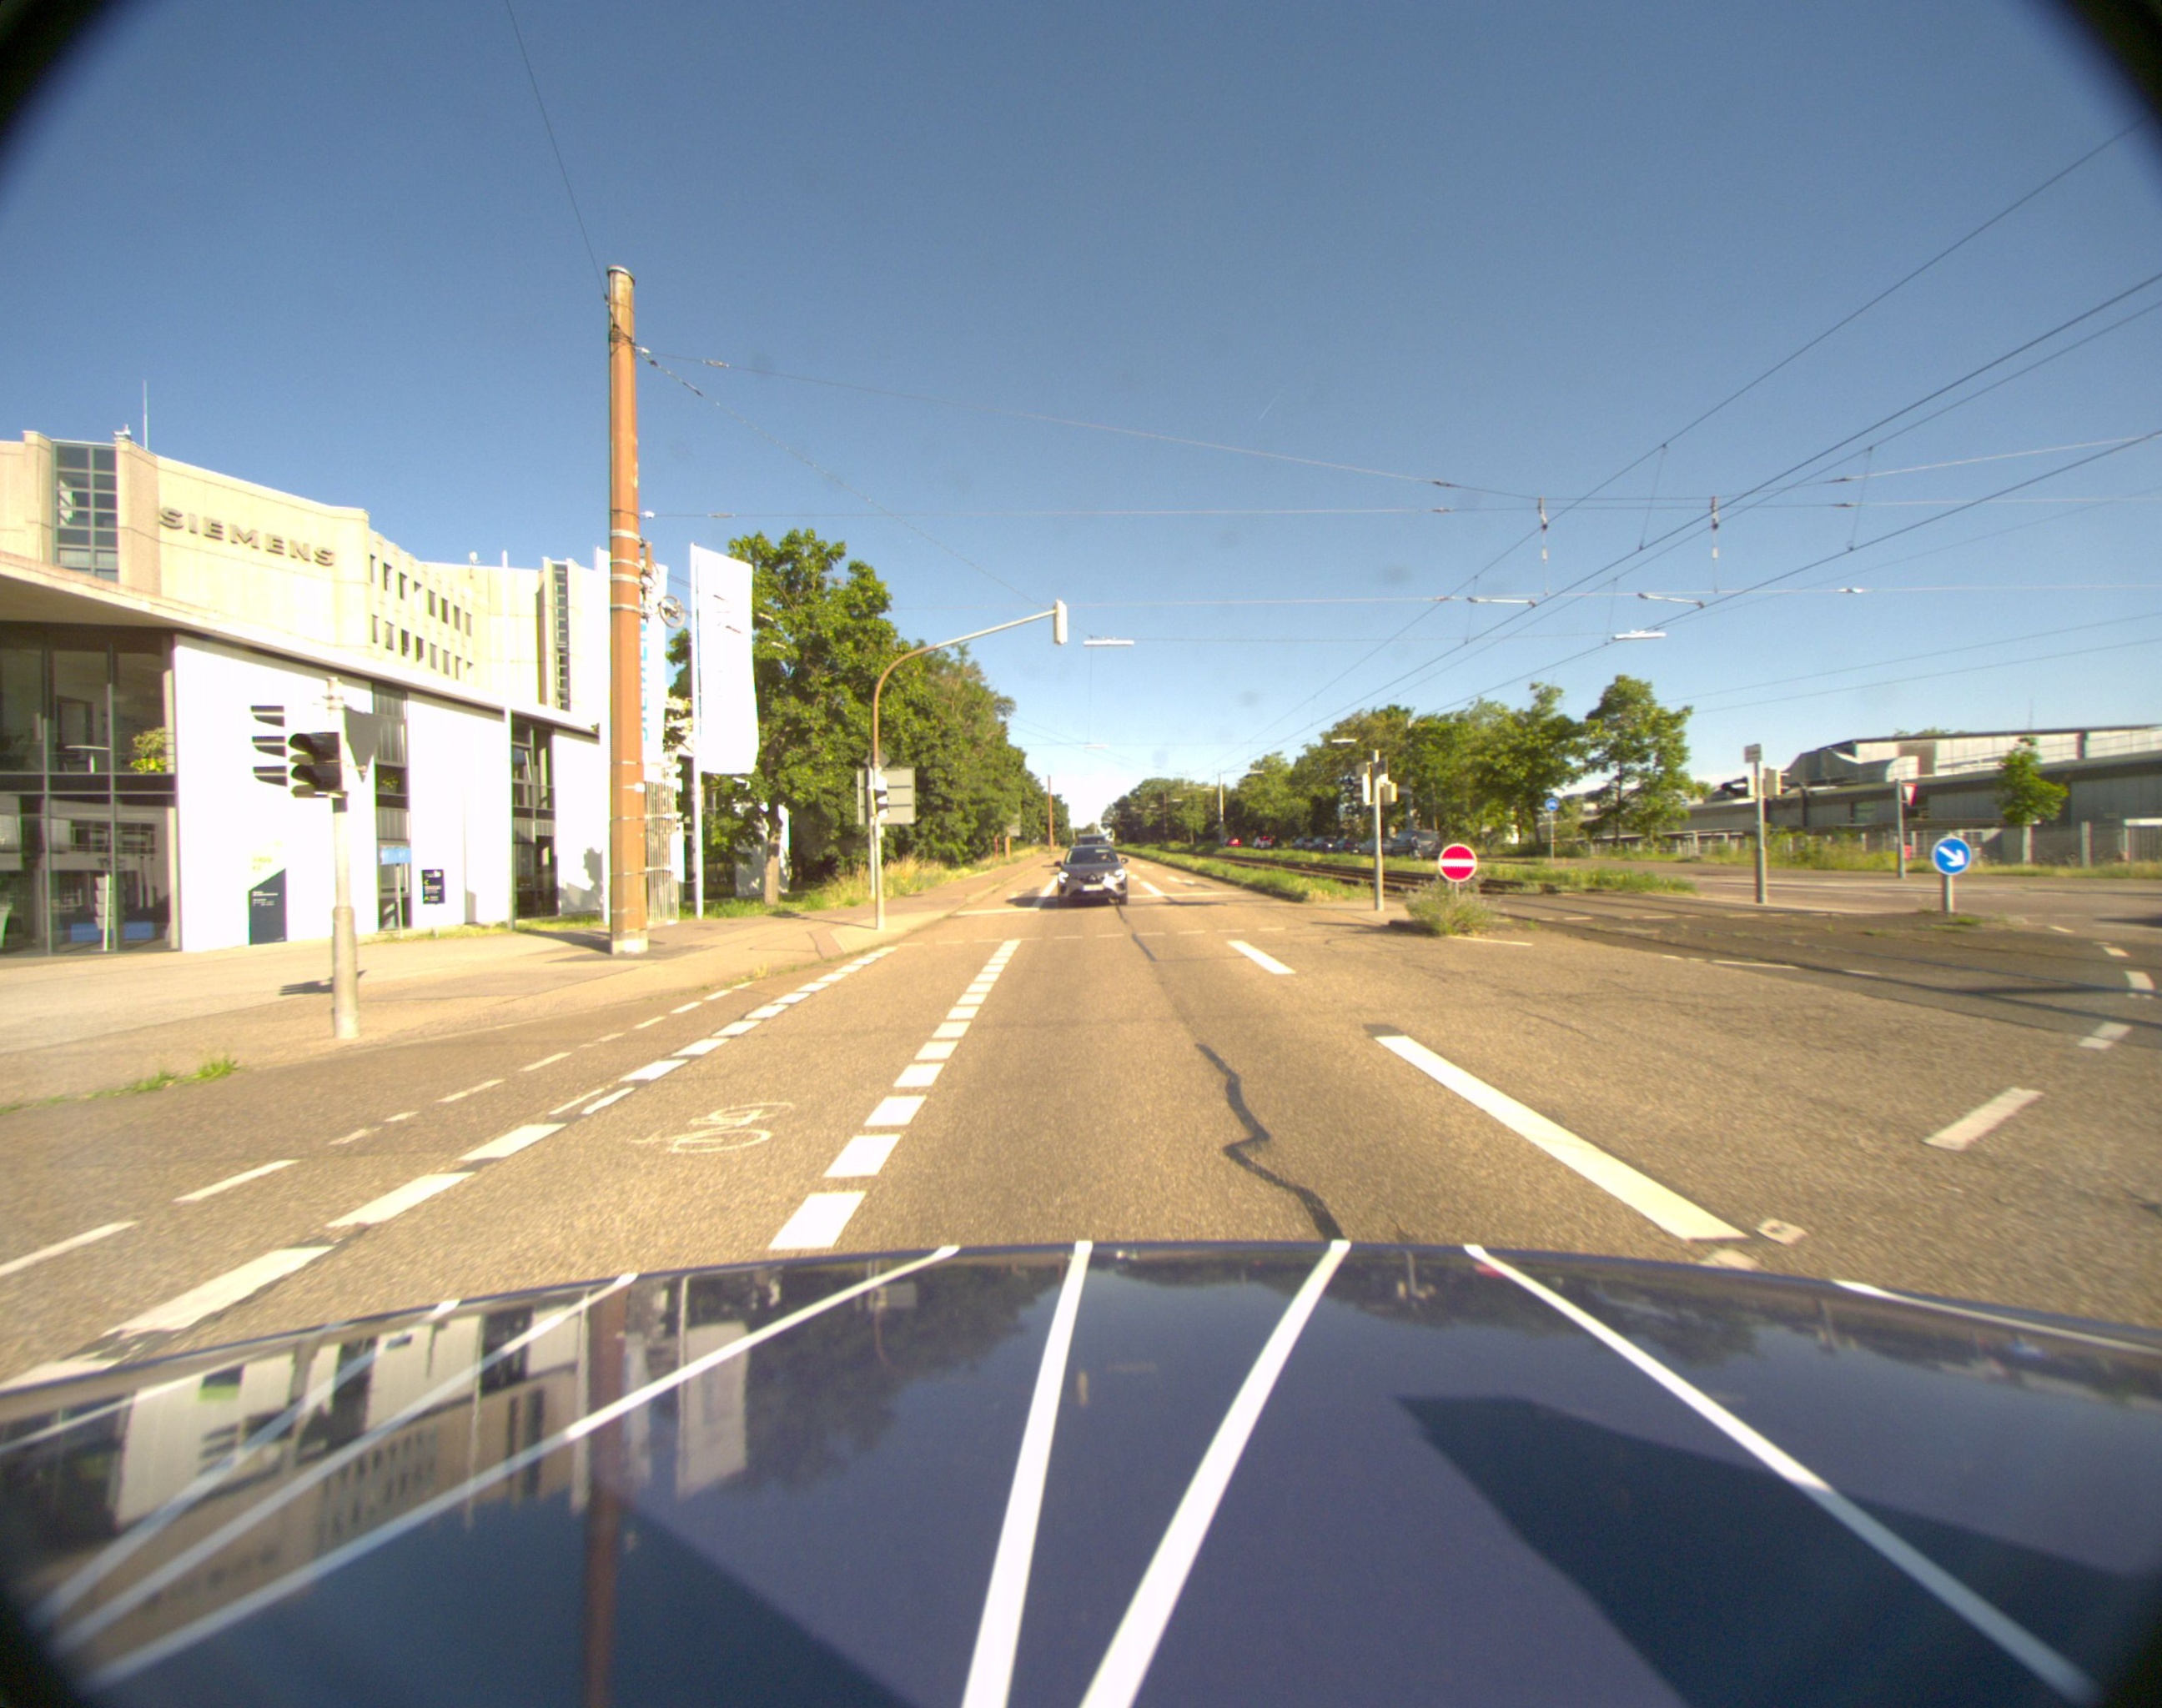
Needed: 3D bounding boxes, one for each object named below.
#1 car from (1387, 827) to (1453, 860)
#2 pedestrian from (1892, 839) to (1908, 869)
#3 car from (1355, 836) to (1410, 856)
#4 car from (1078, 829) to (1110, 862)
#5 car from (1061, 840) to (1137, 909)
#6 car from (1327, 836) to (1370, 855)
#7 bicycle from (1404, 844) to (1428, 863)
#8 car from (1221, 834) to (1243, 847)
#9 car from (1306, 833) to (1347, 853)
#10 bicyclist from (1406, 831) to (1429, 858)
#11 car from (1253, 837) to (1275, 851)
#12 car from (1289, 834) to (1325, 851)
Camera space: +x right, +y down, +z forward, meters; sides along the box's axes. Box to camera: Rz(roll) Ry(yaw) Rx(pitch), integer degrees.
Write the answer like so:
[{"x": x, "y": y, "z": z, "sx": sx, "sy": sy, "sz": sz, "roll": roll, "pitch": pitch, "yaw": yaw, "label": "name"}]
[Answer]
[{"x": 21.698, "y": -0.659, "z": 48.859, "sx": 2.207, "sy": 1.923, "sz": 4.684, "roll": -2, "pitch": 1, "yaw": 2, "label": "car"}, {"x": 35.826, "y": -0.008, "z": 33.237, "sx": 0.442, "sy": 1.293, "sz": 0.440, "roll": -2, "pitch": 1, "yaw": -41, "label": "pedestrian"}, {"x": 22.029, "y": -0.597, "z": 55.700, "sx": 2.130, "sy": 1.372, "sz": 4.615, "roll": -2, "pitch": 1, "yaw": -1, "label": "car"}, {"x": 0.864, "y": -0.588, "z": 53.685, "sx": 1.999, "sy": 2.198, "sz": 4.785, "roll": -1, "pitch": 0, "yaw": -1, "label": "car"}, {"x": 0.408, "y": 0.469, "z": 21.117, "sx": 1.796, "sy": 1.584, "sz": 4.528, "roll": -3, "pitch": 2, "yaw": -1, "label": "car"}, {"x": 21.826, "y": -0.727, "z": 62.092, "sx": 1.960, "sy": 1.418, "sz": 4.488, "roll": -2, "pitch": 1, "yaw": 1, "label": "car"}, {"x": 20.215, "y": -0.028, "z": 45.876, "sx": 0.698, "sy": 1.096, "sz": 1.781, "roll": -2, "pitch": 1, "yaw": 2, "label": "bicycle"}, {"x": 21.462, "y": -1.862, "z": 108.208, "sx": 2.321, "sy": 1.723, "sz": 4.797, "roll": -2, "pitch": 1, "yaw": 3, "label": "car"}, {"x": 21.785, "y": -0.973, "z": 67.584, "sx": 2.130, "sy": 1.578, "sz": 4.615, "roll": -2, "pitch": 1, "yaw": 1, "label": "car"}, {"x": 20.214, "y": -0.565, "z": 45.703, "sx": 0.804, "sy": 1.584, "sz": 1.236, "roll": -2, "pitch": 1, "yaw": 2, "label": "bicyclist"}, {"x": 21.850, "y": -1.238, "z": 90.652, "sx": 1.859, "sy": 1.549, "sz": 4.157, "roll": -2, "pitch": 1, "yaw": 4, "label": "car"}, {"x": 22.040, "y": -1.109, "z": 74.164, "sx": 2.130, "sy": 1.555, "sz": 4.559, "roll": -2, "pitch": 1, "yaw": 0, "label": "car"}]
